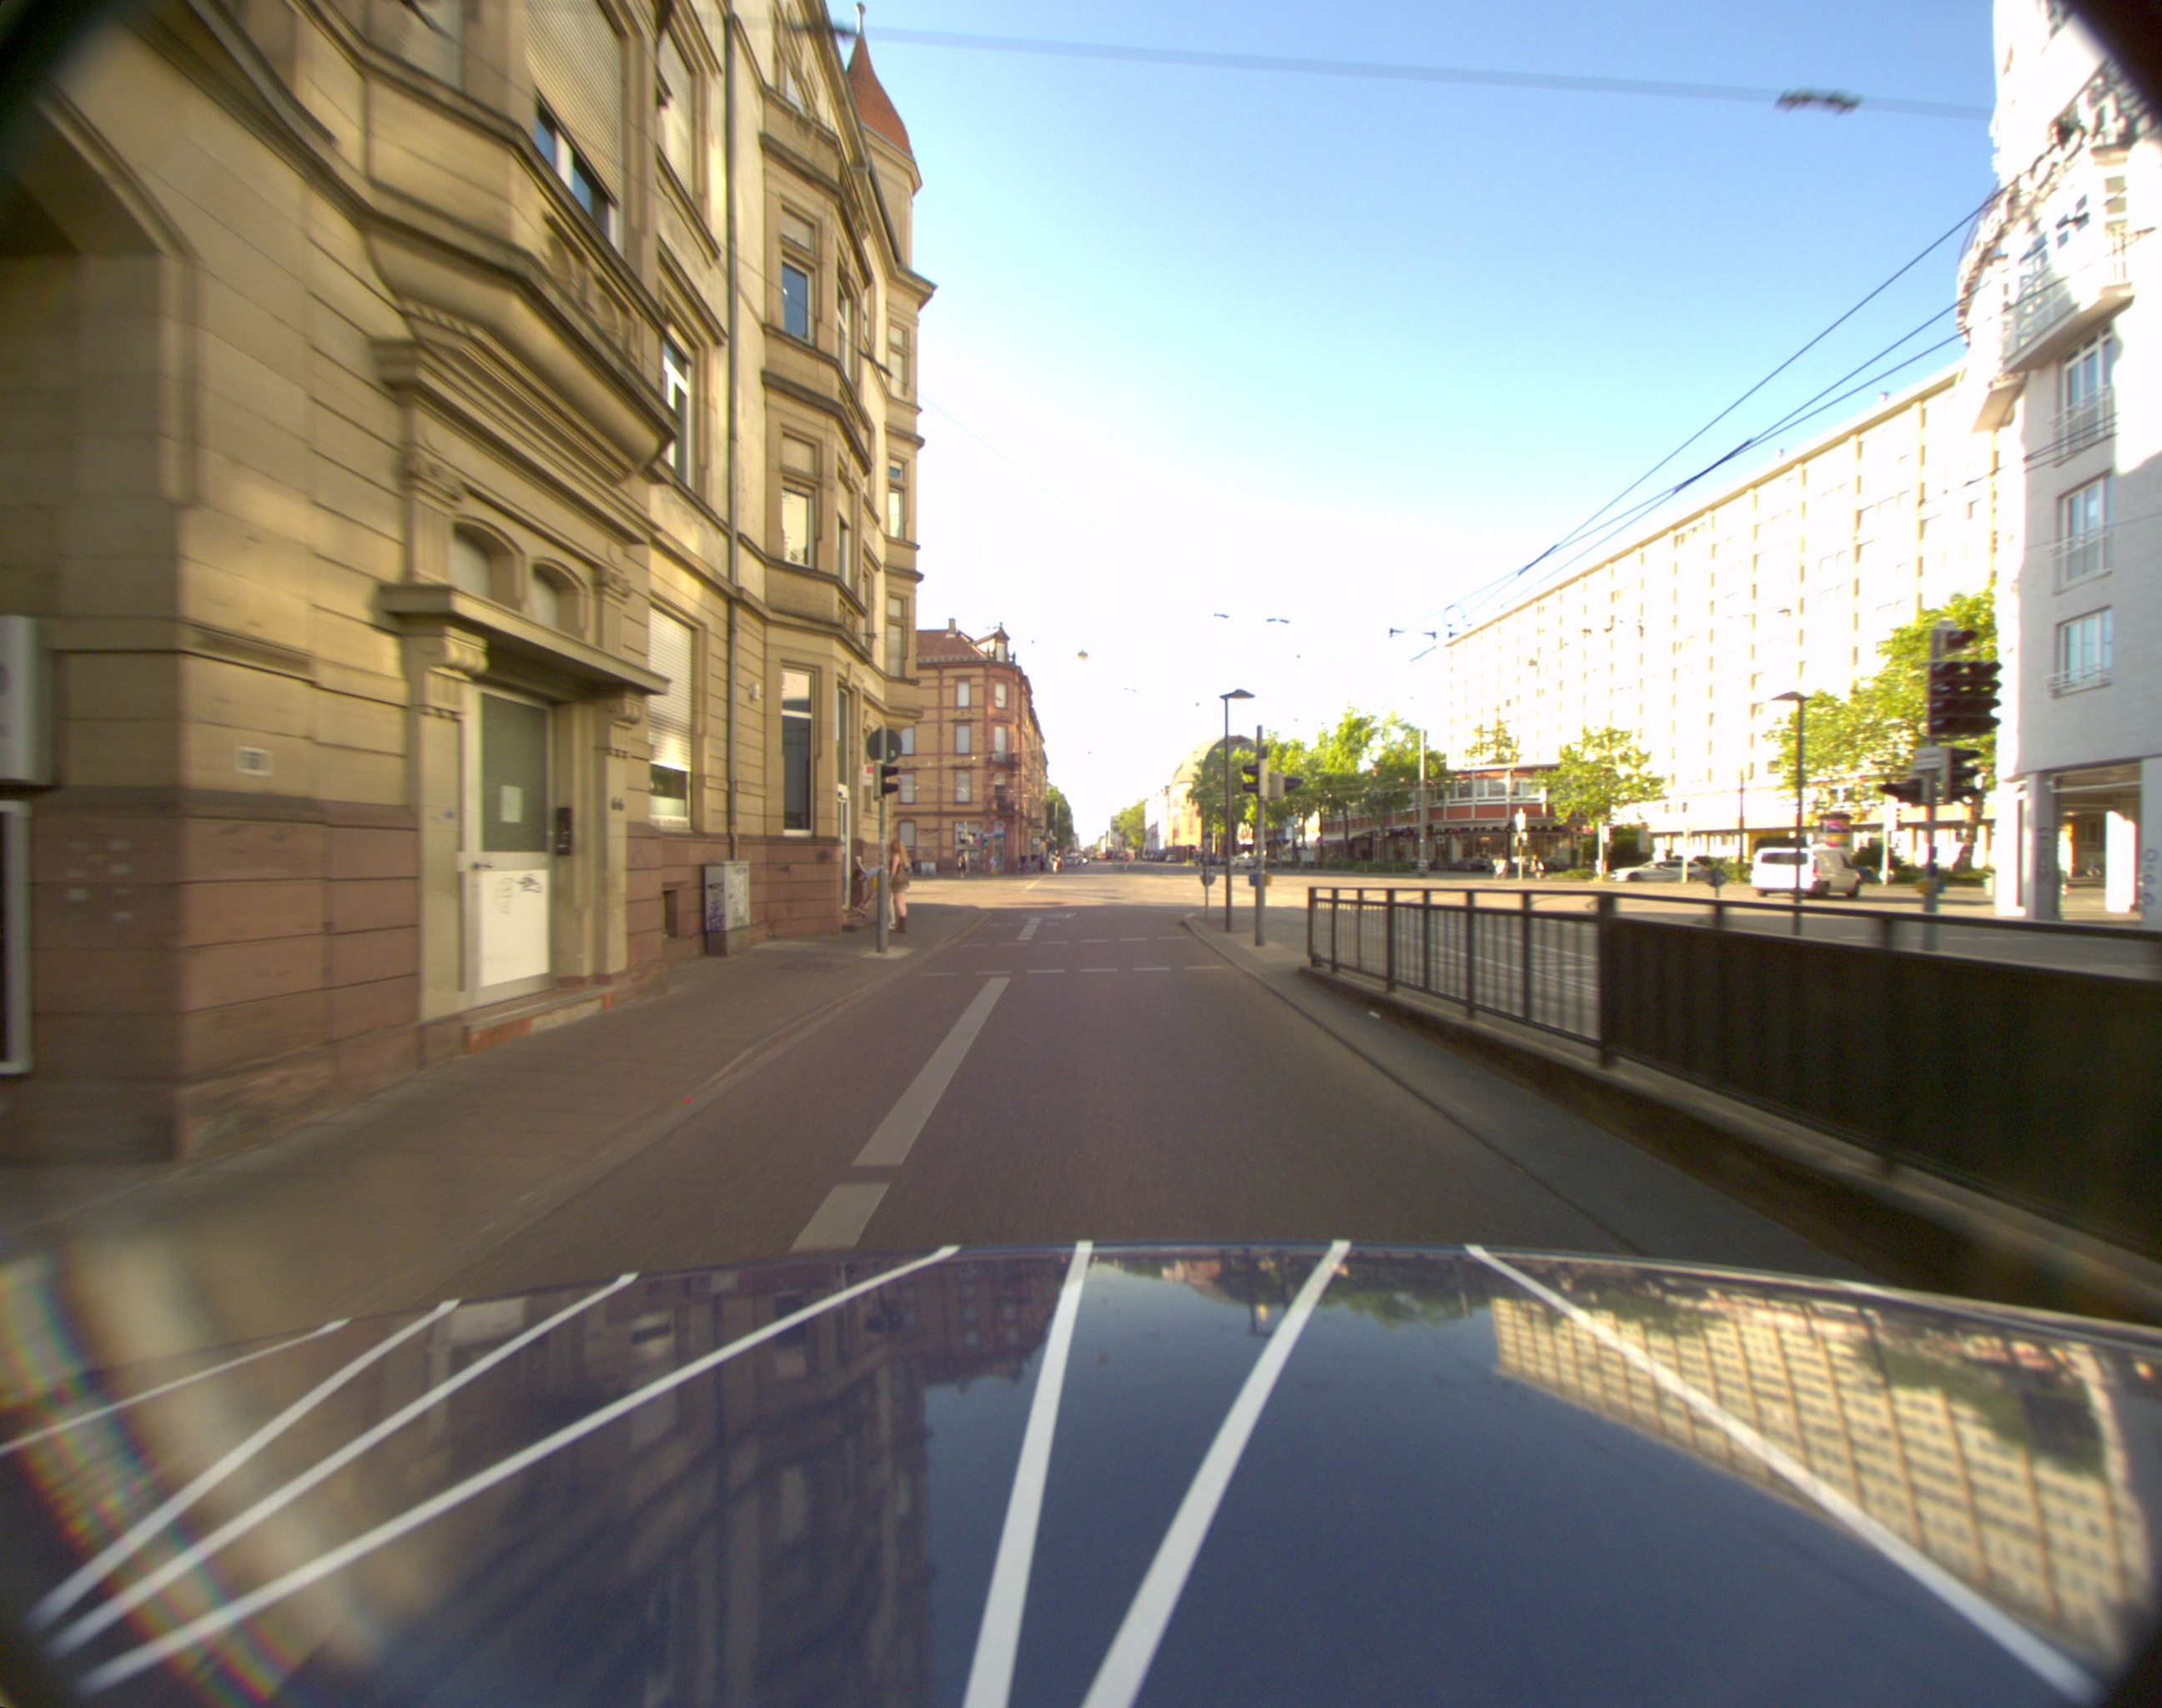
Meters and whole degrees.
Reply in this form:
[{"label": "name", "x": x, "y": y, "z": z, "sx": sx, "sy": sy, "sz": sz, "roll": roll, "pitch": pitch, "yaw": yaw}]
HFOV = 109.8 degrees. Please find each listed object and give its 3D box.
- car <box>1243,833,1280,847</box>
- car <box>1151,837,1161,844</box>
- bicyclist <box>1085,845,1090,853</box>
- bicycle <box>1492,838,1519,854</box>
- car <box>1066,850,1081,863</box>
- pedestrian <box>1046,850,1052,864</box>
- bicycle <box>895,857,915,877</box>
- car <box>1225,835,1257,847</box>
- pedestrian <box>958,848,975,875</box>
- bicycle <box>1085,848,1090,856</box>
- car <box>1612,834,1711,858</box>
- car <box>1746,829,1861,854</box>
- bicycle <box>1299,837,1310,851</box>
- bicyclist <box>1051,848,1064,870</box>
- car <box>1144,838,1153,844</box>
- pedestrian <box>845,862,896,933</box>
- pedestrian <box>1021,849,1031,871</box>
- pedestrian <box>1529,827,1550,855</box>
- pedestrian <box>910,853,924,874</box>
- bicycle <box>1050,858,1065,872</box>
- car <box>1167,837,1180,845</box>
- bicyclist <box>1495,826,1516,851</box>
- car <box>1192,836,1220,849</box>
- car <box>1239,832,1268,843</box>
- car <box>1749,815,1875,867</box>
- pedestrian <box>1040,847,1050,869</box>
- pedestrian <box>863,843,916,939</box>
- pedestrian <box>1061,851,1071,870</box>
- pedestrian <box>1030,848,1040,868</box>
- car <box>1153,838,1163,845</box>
[{"label": "car", "x": 21.233, "y": -1.630, "z": 89.399, "sx": 4.006, "sy": 1.545, "sz": 1.793, "roll": -3, "pitch": 2, "yaw": -31}, {"label": "car", "x": 18.860, "y": -3.353, "z": 190.429, "sx": 1.965, "sy": 1.594, "sz": 3.998, "roll": -2, "pitch": 1, "yaw": -1}, {"label": "bicyclist", "x": 0.990, "y": -0.707, "z": 113.674, "sx": 0.646, "sy": 1.176, "sz": 0.722, "roll": -1, "pitch": 1, "yaw": -2}, {"label": "bicycle", "x": 25.846, "y": -0.478, "z": 46.306, "sx": 0.842, "sy": 0.922, "sz": 2.266, "roll": -1, "pitch": 2, "yaw": 12}, {"label": "car", "x": -1.008, "y": 0.267, "z": 104.419, "sx": 1.670, "sy": 1.674, "sz": 4.000, "roll": -1, "pitch": 1, "yaw": 4}, {"label": "pedestrian", "x": -3.871, "y": 0.323, "z": 92.763, "sx": 0.700, "sy": 1.713, "sz": 0.681, "roll": 1, "pitch": 1, "yaw": 2}, {"label": "bicycle", "x": -11.919, "y": 0.883, "z": 51.488, "sx": 0.755, "sy": 1.255, "sz": 1.836, "roll": -1, "pitch": -3, "yaw": 5}, {"label": "car", "x": 21.091, "y": -1.748, "z": 100.122, "sx": 4.006, "sy": 1.466, "sz": 1.793, "roll": -3, "pitch": 2, "yaw": -31}, {"label": "pedestrian", "x": -7.909, "y": 0.503, "z": 52.721, "sx": 1.026, "sy": 1.796, "sz": 1.083, "roll": -1, "pitch": 1, "yaw": -3}, {"label": "bicycle", "x": 0.936, "y": -0.317, "z": 113.646, "sx": 0.646, "sy": 1.176, "sz": 1.804, "roll": -1, "pitch": 1, "yaw": -2}, {"label": "car", "x": 35.353, "y": -0.508, "z": 46.416, "sx": 4.446, "sy": 1.413, "sz": 1.893, "roll": 0, "pitch": 1, "yaw": 17}, {"label": "car", "x": 42.021, "y": -0.734, "z": 44.300, "sx": 4.446, "sy": 1.413, "sz": 1.893, "roll": 0, "pitch": 1, "yaw": 17}, {"label": "bicycle", "x": 19.038, "y": -0.855, "z": 64.752, "sx": 0.582, "sy": 1.228, "sz": 1.857, "roll": -2, "pitch": 1, "yaw": 6}, {"label": "bicyclist", "x": -1.746, "y": 0.366, "z": 56.337, "sx": 0.885, "sy": 1.651, "sz": 0.803, "roll": -1, "pitch": 1, "yaw": 3}, {"label": "car", "x": 18.692, "y": -3.645, "z": 209.587, "sx": 1.965, "sy": 1.594, "sz": 3.998, "roll": -2, "pitch": 1, "yaw": -1}, {"label": "pedestrian", "x": -4.072, "y": 0.833, "z": 14.776, "sx": 0.796, "sy": 1.324, "sz": 0.719, "roll": 0, "pitch": 2, "yaw": -1}, {"label": "pedestrian", "x": -4.395, "y": 0.459, "z": 60.899, "sx": 0.777, "sy": 1.713, "sz": 0.754, "roll": 0, "pitch": 1, "yaw": 1}, {"label": "pedestrian", "x": 27.652, "y": -0.773, "z": 45.840, "sx": 0.870, "sy": 1.672, "sz": 0.697, "roll": 0, "pitch": 0, "yaw": 9}, {"label": "pedestrian", "x": -12.827, "y": 0.708, "z": 59.334, "sx": 0.743, "sy": 1.563, "sz": 0.763, "roll": -2, "pitch": 5, "yaw": 7}, {"label": "bicycle", "x": -1.741, "y": 0.832, "z": 56.340, "sx": 0.885, "sy": 0.949, "sz": 1.766, "roll": -1, "pitch": 1, "yaw": 4}, {"label": "car", "x": 19.105, "y": -2.744, "z": 156.955, "sx": 1.910, "sy": 1.594, "sz": 3.998, "roll": -2, "pitch": 1, "yaw": -1}, {"label": "bicyclist", "x": 25.831, "y": -0.936, "z": 46.257, "sx": 0.842, "sy": 1.459, "sz": 0.897, "roll": -1, "pitch": 2, "yaw": 12}, {"label": "car", "x": 19.547, "y": -1.814, "z": 119.010, "sx": 4.006, "sy": 1.953, "sz": 1.907, "roll": -3, "pitch": 2, "yaw": -34}, {"label": "car", "x": 32.213, "y": -3.146, "z": 141.884, "sx": 4.983, "sy": 2.002, "sz": 1.999, "roll": -1, "pitch": 1, "yaw": -2}, {"label": "car", "x": 27.656, "y": -0.535, "z": 28.712, "sx": 5.355, "sy": 1.827, "sz": 1.994, "roll": -1, "pitch": 3, "yaw": -30}, {"label": "pedestrian", "x": -3.187, "y": 0.323, "z": 66.663, "sx": 0.824, "sy": 1.883, "sz": 0.754, "roll": 0, "pitch": 1, "yaw": 1}, {"label": "pedestrian", "x": -3.542, "y": 0.670, "z": 14.122, "sx": 0.796, "sy": 1.712, "sz": 0.719, "roll": 0, "pitch": 2, "yaw": -1}, {"label": "pedestrian", "x": -1.337, "y": 0.595, "z": 67.415, "sx": 0.849, "sy": 1.652, "sz": 0.850, "roll": 0, "pitch": 1, "yaw": 4}, {"label": "pedestrian", "x": -4.065, "y": 0.360, "z": 66.861, "sx": 0.777, "sy": 1.713, "sz": 0.754, "roll": 0, "pitch": 1, "yaw": 1}, {"label": "car", "x": 18.619, "y": -3.048, "z": 184.003, "sx": 1.965, "sy": 1.594, "sz": 3.998, "roll": -2, "pitch": 1, "yaw": -1}]
